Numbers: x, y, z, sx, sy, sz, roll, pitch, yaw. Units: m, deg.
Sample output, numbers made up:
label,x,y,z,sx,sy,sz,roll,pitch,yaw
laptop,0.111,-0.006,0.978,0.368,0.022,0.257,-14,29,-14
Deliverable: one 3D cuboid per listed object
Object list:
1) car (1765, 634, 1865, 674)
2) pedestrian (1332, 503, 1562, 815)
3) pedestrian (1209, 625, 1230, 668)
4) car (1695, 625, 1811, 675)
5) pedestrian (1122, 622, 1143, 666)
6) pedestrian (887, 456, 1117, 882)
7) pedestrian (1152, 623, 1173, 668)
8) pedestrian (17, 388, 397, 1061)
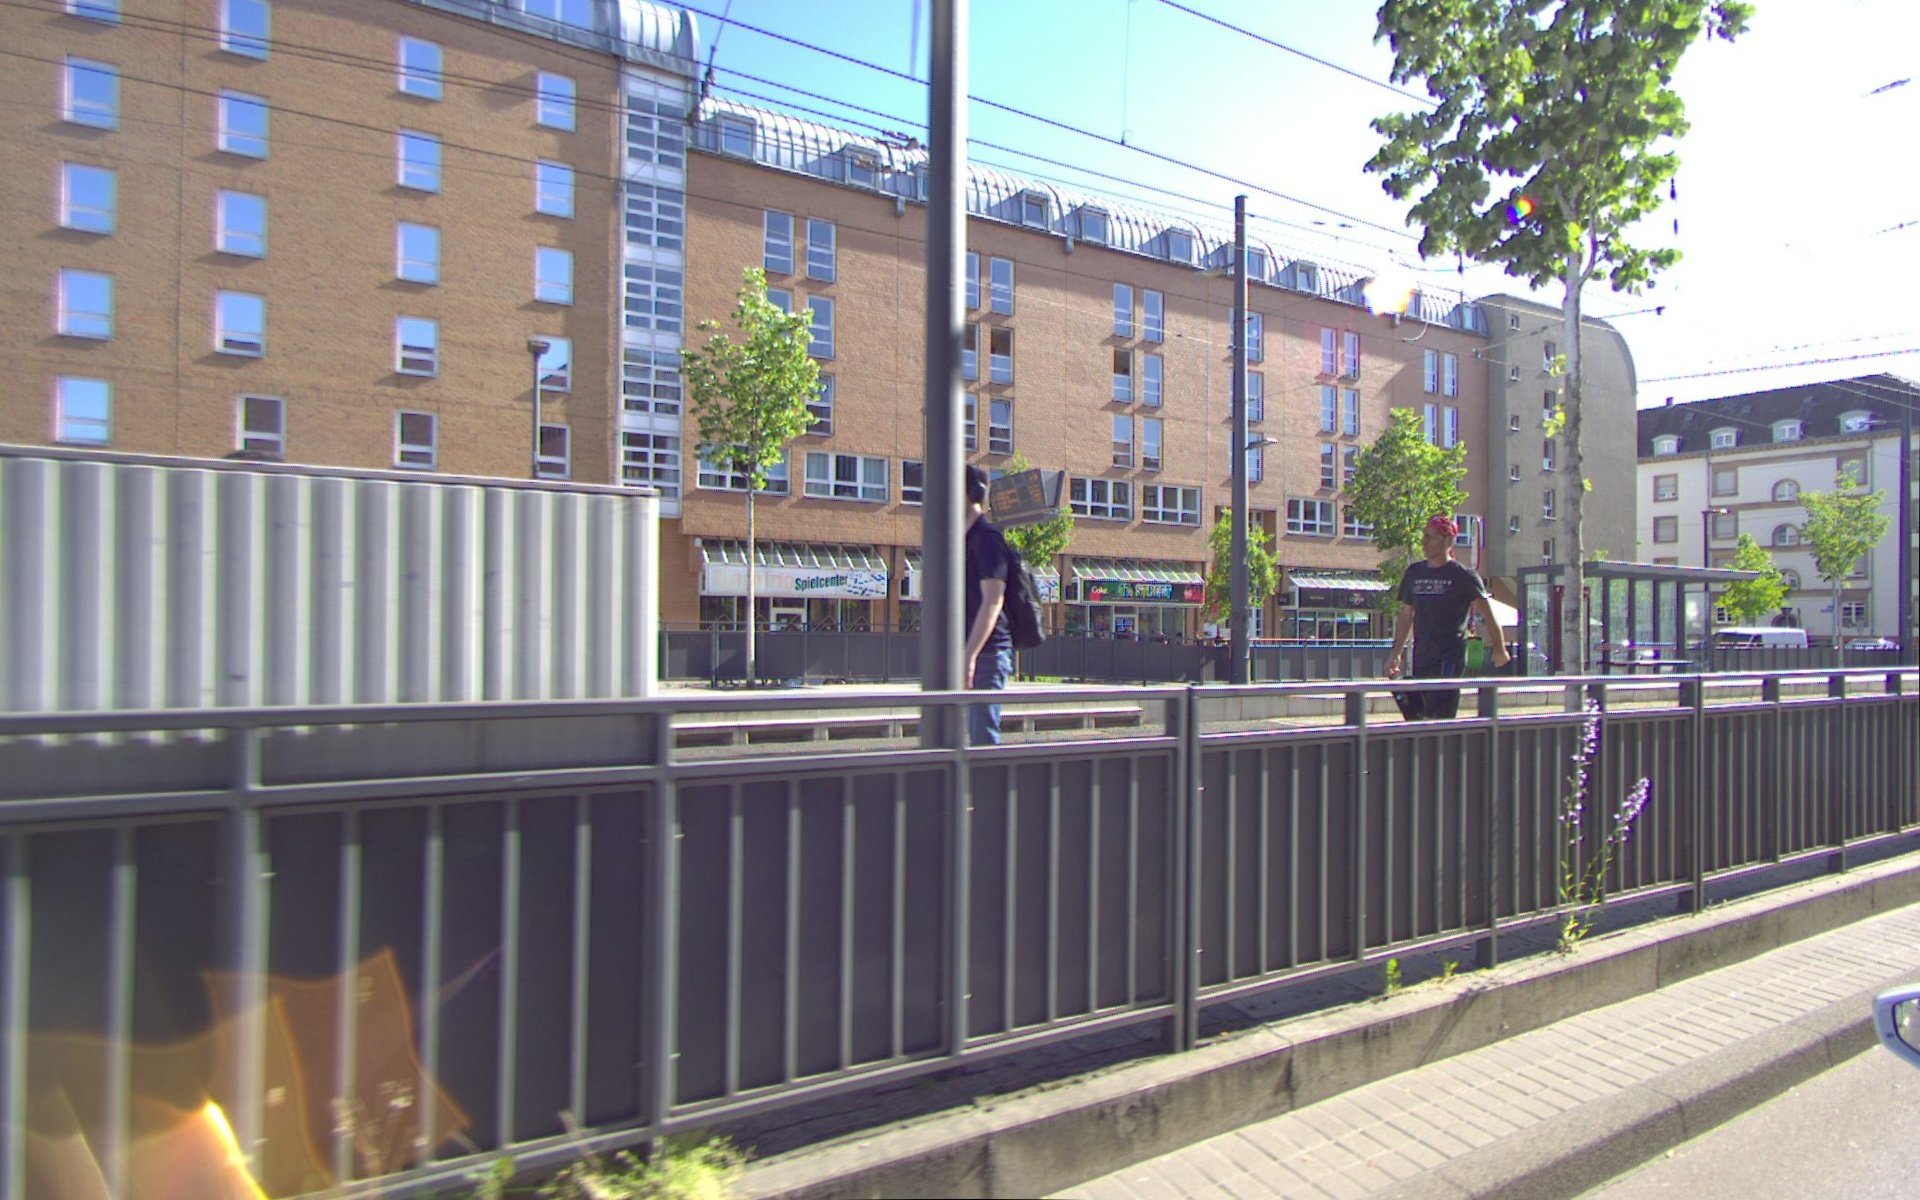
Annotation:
label,x,y,z,sx,sy,sz,roll,pitch,yaw
car,34.754,2.214,40.834,3.953,1.483,1.870,2,-1,-30
pedestrian,3.189,0.369,6.612,1.011,1.835,0.986,2,-2,-32
pedestrian,11.224,2.010,43.503,0.637,1.864,0.617,1,-2,-30
car,39.476,2.470,49.981,5.561,2.401,1.990,1,-1,-21
pedestrian,7.408,1.891,43.078,0.637,1.864,0.617,1,-2,-30
pedestrian,0.195,0.312,4.867,0.831,1.835,0.749,2,-2,-32
pedestrian,8.478,1.899,42.093,0.637,1.864,0.617,1,-2,-30
pedestrian,-2.148,0.316,2.980,0.767,1.640,0.749,2,-2,-32
